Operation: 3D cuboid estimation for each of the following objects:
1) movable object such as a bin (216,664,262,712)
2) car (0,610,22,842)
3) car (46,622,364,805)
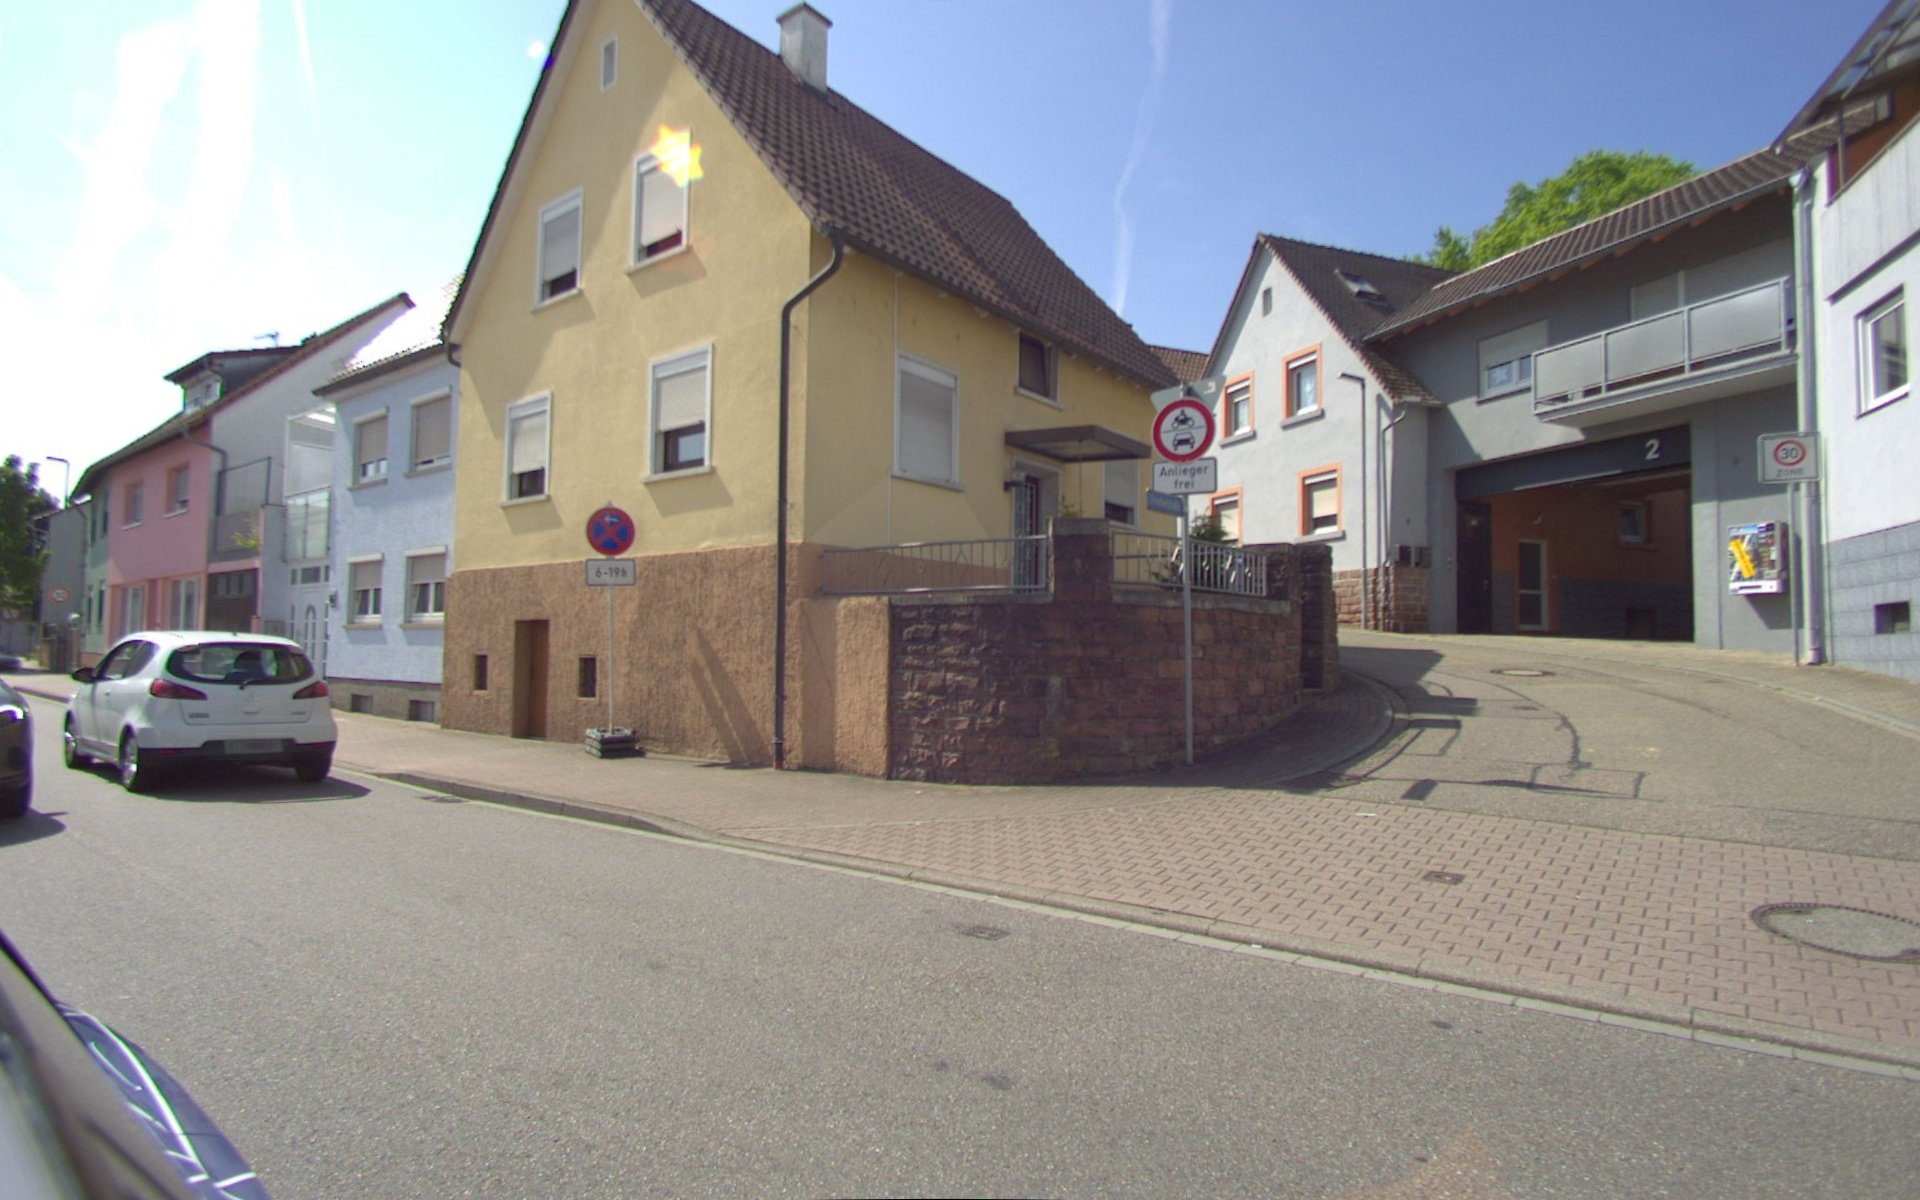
[{"bbox_3d":[-14.434,1.752,20.263,0.599,0.886,0.623,-1,-1,41],"label":"movable object such as a bin"},{"bbox_3d":[-8.689,0.907,7.786,4.288,1.585,1.715,-2,-2,41],"label":"car"},{"bbox_3d":[-7.916,1.050,10.508,3.808,1.554,1.712,-2,-4,39],"label":"car"}]
